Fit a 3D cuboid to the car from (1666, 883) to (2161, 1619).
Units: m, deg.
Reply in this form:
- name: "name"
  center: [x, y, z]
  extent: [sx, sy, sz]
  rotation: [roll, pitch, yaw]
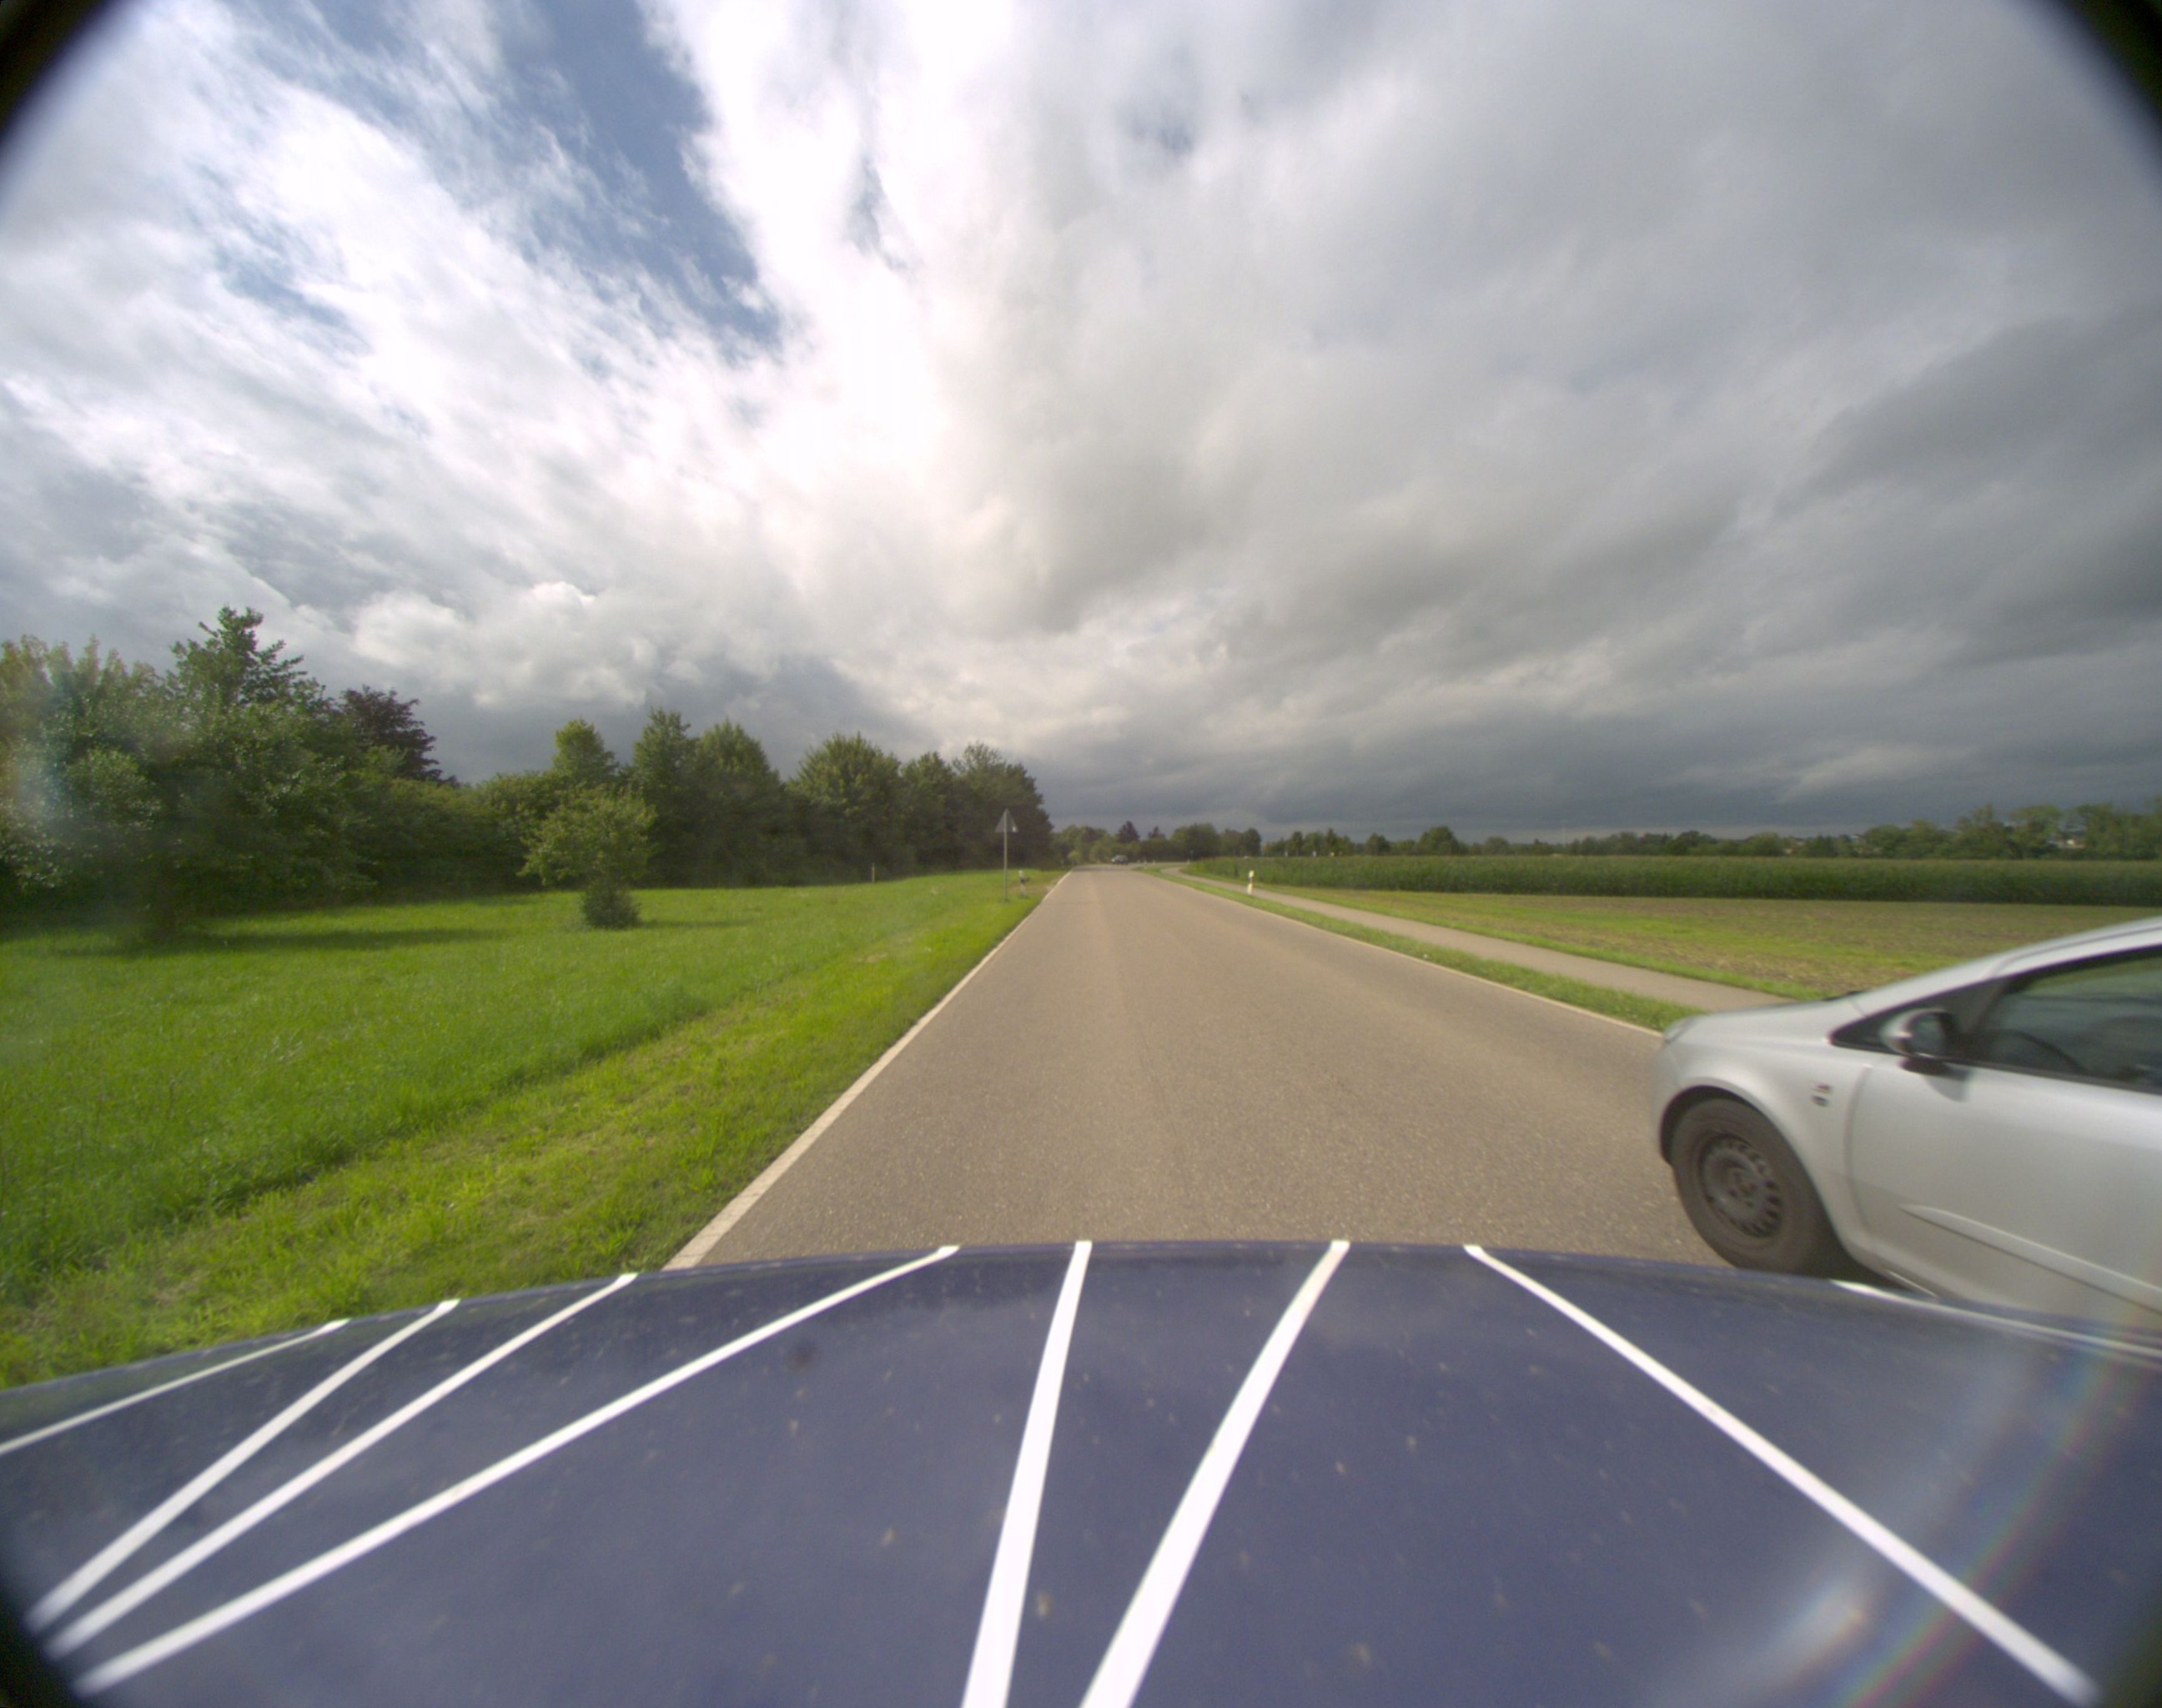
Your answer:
- name: "car"
  center: [3.065, 0.853, 1.120]
  extent: [1.699, 1.450, 3.543]
  rotation: [0, 1, 1]
